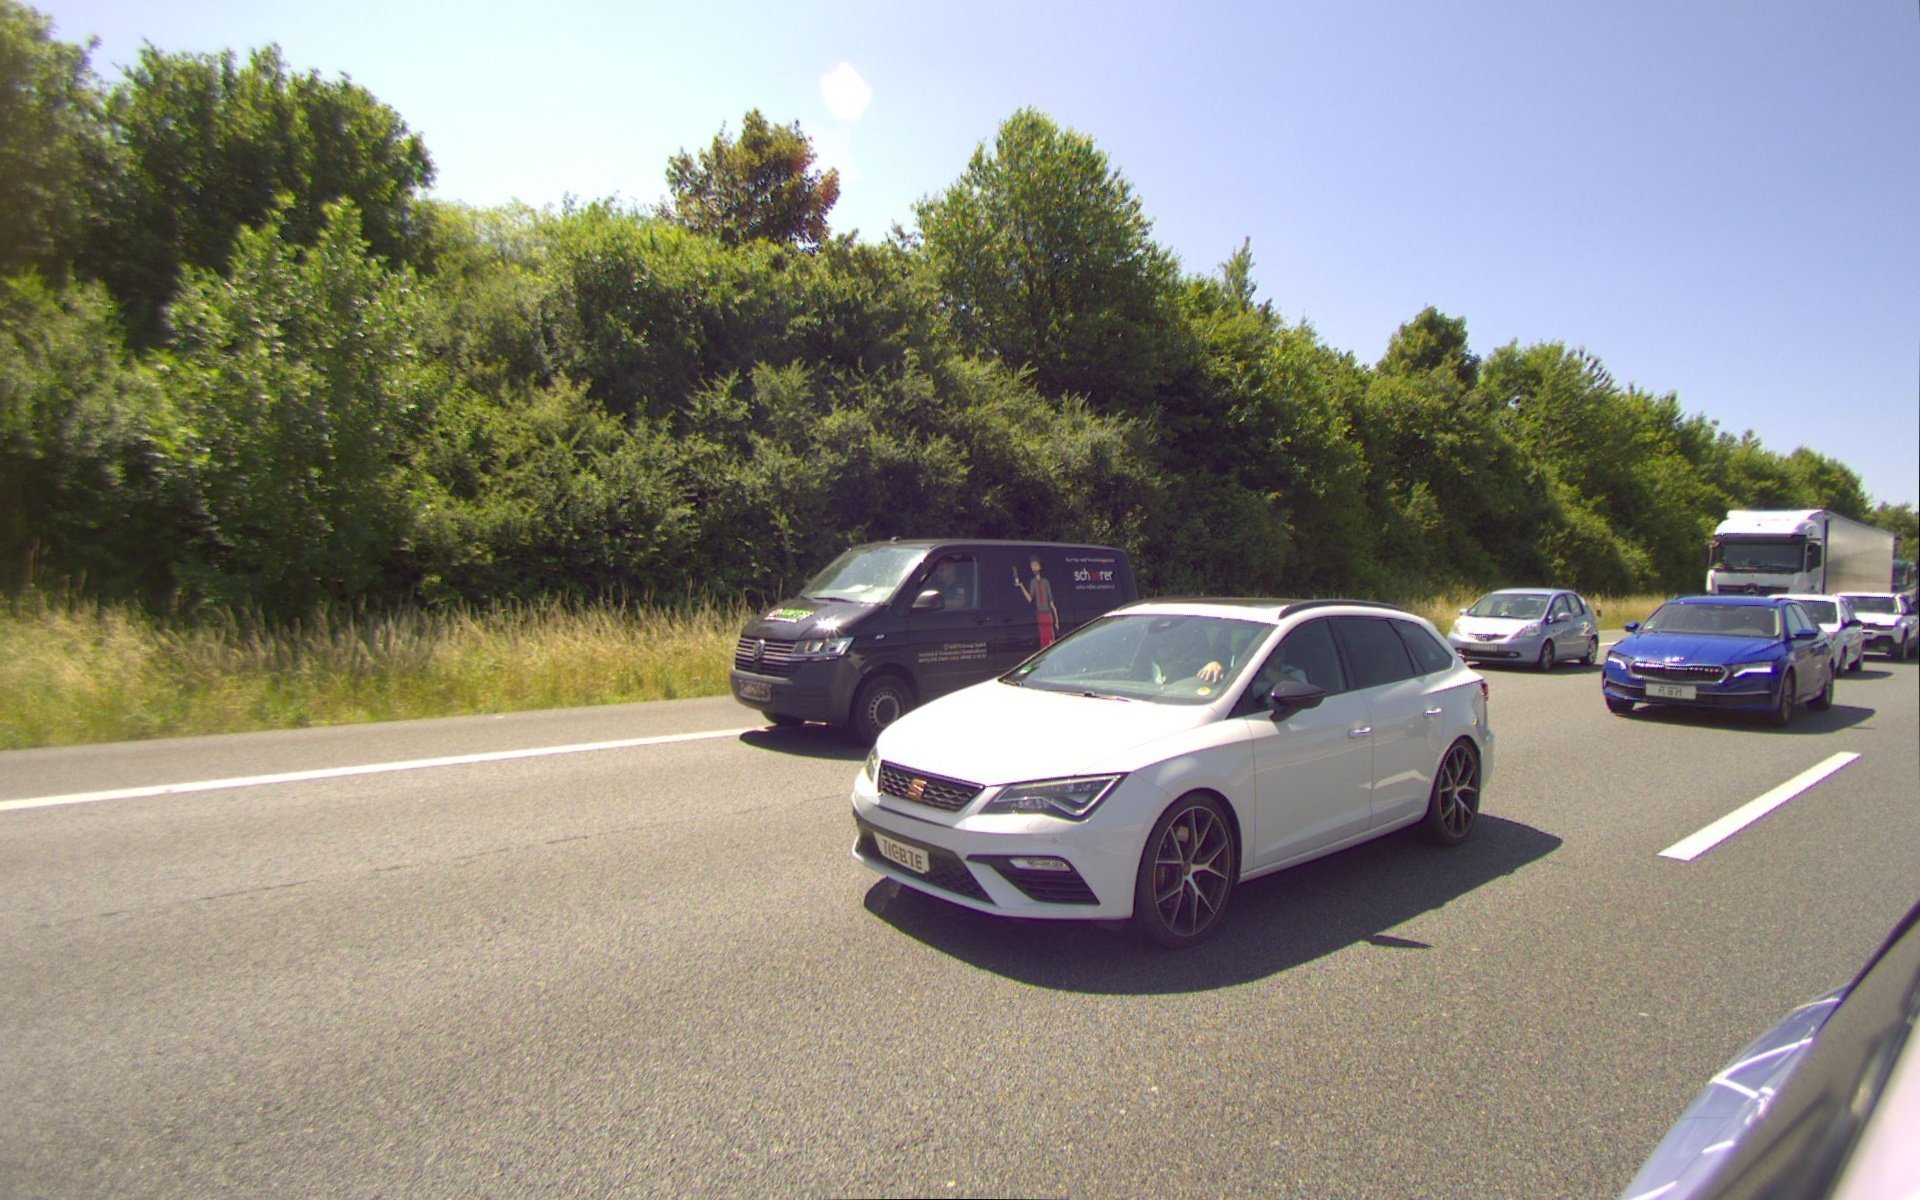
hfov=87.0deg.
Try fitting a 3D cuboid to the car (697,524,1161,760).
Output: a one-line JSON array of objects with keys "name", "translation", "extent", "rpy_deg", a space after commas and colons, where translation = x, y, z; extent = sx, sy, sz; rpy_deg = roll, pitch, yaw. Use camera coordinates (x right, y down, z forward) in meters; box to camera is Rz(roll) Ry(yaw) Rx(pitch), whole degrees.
[{"name": "car", "translation": [-0.142, 0.295, 10.694], "extent": [4.771, 1.964, 1.917], "rpy_deg": [-1, 2, -40]}]

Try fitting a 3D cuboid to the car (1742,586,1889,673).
[{"name": "car", "translation": [16.483, 0.494, 19.450], "extent": [3.744, 1.451, 1.608], "rpy_deg": [-1, 2, -41]}]

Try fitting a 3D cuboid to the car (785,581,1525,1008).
[{"name": "car", "translation": [1.328, 0.638, 5.566], "extent": [4.238, 1.461, 1.751], "rpy_deg": [-1, 2, -40]}]

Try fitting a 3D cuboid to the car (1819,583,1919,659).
[{"name": "car", "translation": [21.476, 0.424, 23.487], "extent": [3.816, 1.577, 1.747], "rpy_deg": [-1, 2, -40]}]

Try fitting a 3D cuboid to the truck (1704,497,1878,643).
[{"name": "truck", "translation": [27.116, -0.917, 32.864], "extent": [8.324, 4.209, 2.879], "rpy_deg": [-1, 1, -40]}]

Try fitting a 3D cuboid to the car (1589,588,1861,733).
[{"name": "car", "translation": [9.682, 0.603, 12.666], "extent": [4.492, 1.434, 1.780], "rpy_deg": [-1, 2, -40]}]

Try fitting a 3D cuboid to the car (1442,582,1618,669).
[{"name": "car", "translation": [10.956, 0.418, 19.370], "extent": [3.852, 1.479, 1.666], "rpy_deg": [0, 2, -40]}]

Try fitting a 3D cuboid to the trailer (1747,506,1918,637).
[{"name": "trailer", "translation": [32.372, -0.985, 37.286], "extent": [11.860, 4.209, 2.879], "rpy_deg": [-1, 1, -40]}]

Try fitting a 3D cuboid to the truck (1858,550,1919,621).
[{"name": "truck", "translation": [44.894, -0.693, 48.241], "extent": [5.574, 3.185, 2.299], "rpy_deg": [-1, 1, -40]}]
